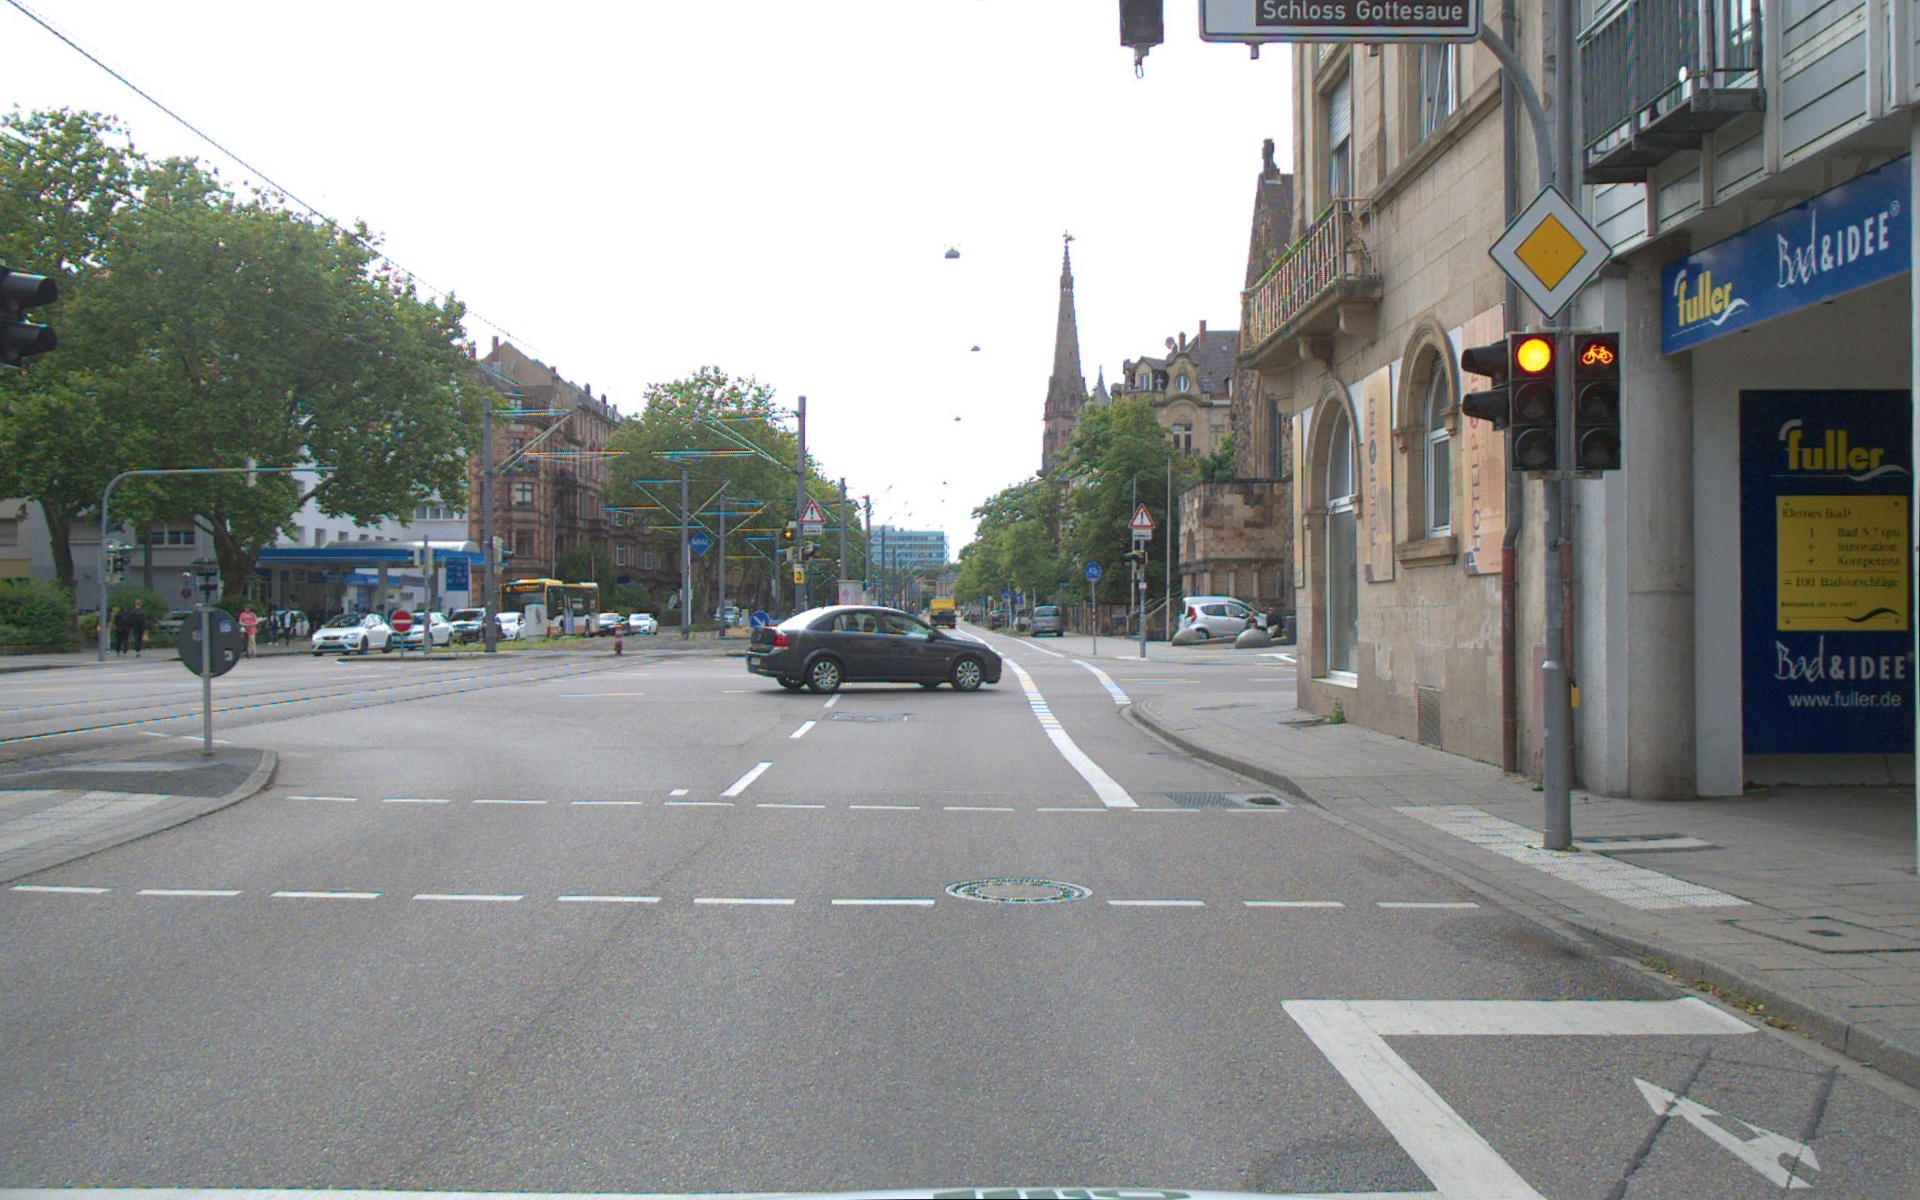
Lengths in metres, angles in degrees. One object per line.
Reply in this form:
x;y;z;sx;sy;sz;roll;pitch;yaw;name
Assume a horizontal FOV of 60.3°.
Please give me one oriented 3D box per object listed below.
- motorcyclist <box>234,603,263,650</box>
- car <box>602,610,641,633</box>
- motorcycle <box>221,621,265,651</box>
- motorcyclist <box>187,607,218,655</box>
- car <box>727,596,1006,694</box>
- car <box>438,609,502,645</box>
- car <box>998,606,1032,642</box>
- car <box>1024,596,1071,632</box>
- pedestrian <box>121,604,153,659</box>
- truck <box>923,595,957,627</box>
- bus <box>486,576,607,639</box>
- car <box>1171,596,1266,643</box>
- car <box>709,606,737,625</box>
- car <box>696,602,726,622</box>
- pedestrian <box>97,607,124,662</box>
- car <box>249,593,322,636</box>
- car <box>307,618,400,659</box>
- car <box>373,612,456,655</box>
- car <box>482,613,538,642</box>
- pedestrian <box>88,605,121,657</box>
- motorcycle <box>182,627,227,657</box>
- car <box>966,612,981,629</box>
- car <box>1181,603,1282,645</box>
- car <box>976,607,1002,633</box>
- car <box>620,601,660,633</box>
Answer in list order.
-23.662;0.861;55.009;0.607;1.546;0.873;0;0;-1;motorcyclist
-20.830;1.310;101.862;1.622;1.344;3.638;1;0;1;car
-23.693;1.171;54.674;0.594;0.945;1.951;0;0;0;motorcycle
-24.680;0.996;53.909;0.607;1.546;0.873;0;0;-1;motorcyclist
-1.626;0.744;28.774;4.464;1.591;1.984;0;0;-25;car
-21.226;1.143;71.783;1.622;1.504;3.638;1;0;1;car
3.284;1.424;99.600;1.952;2.049;4.000;1;0;1;car
4.812;0.775;90.049;1.951;1.888;4.030;1;0;12;car
-26.495;1.015;53.259;0.864;1.743;0.864;0;-1;-32;pedestrian
-1.780;1.022;151.220;2.992;2.817;9.815;0;0;0;truck
-21.969;0.422;88.755;3.164;3.088;12.312;1;0;1;bus
10.688;0.798;68.558;3.638;1.888;2.000;1;0;-1;car
-21.342;1.387;148.993;1.953;1.639;3.999;1;0;-1;car
-21.226;1.029;141.183;1.953;1.639;3.999;1;0;-1;car
-27.101;1.090;52.759;0.682;1.743;0.860;0;-1;-33;pedestrian
-32.893;0.697;80.753;1.953;2.049;3.999;0;0;-1;car
-21.438;1.335;58.624;1.711;1.344;4.075;1;0;1;car
-21.426;1.291;65.129;1.953;1.622;3.999;1;0;-1;car
-21.382;1.288;78.701;1.622;1.344;3.638;1;0;1;car
-28.956;1.045;55.970;0.669;1.720;0.742;1;-1;4;pedestrian
-24.682;1.373;54.079;0.594;0.945;1.951;0;0;0;motorcycle
1.763;2.669;216.825;1.953;2.049;3.999;1;0;-1;car
10.672;0.929;65.119;3.638;1.591;2.000;1;0;-1;car
2.374;1.633;136.003;1.953;2.049;3.999;1;0;-1;car
-21.440;1.145;111.029;1.953;2.049;3.999;1;0;-1;car
